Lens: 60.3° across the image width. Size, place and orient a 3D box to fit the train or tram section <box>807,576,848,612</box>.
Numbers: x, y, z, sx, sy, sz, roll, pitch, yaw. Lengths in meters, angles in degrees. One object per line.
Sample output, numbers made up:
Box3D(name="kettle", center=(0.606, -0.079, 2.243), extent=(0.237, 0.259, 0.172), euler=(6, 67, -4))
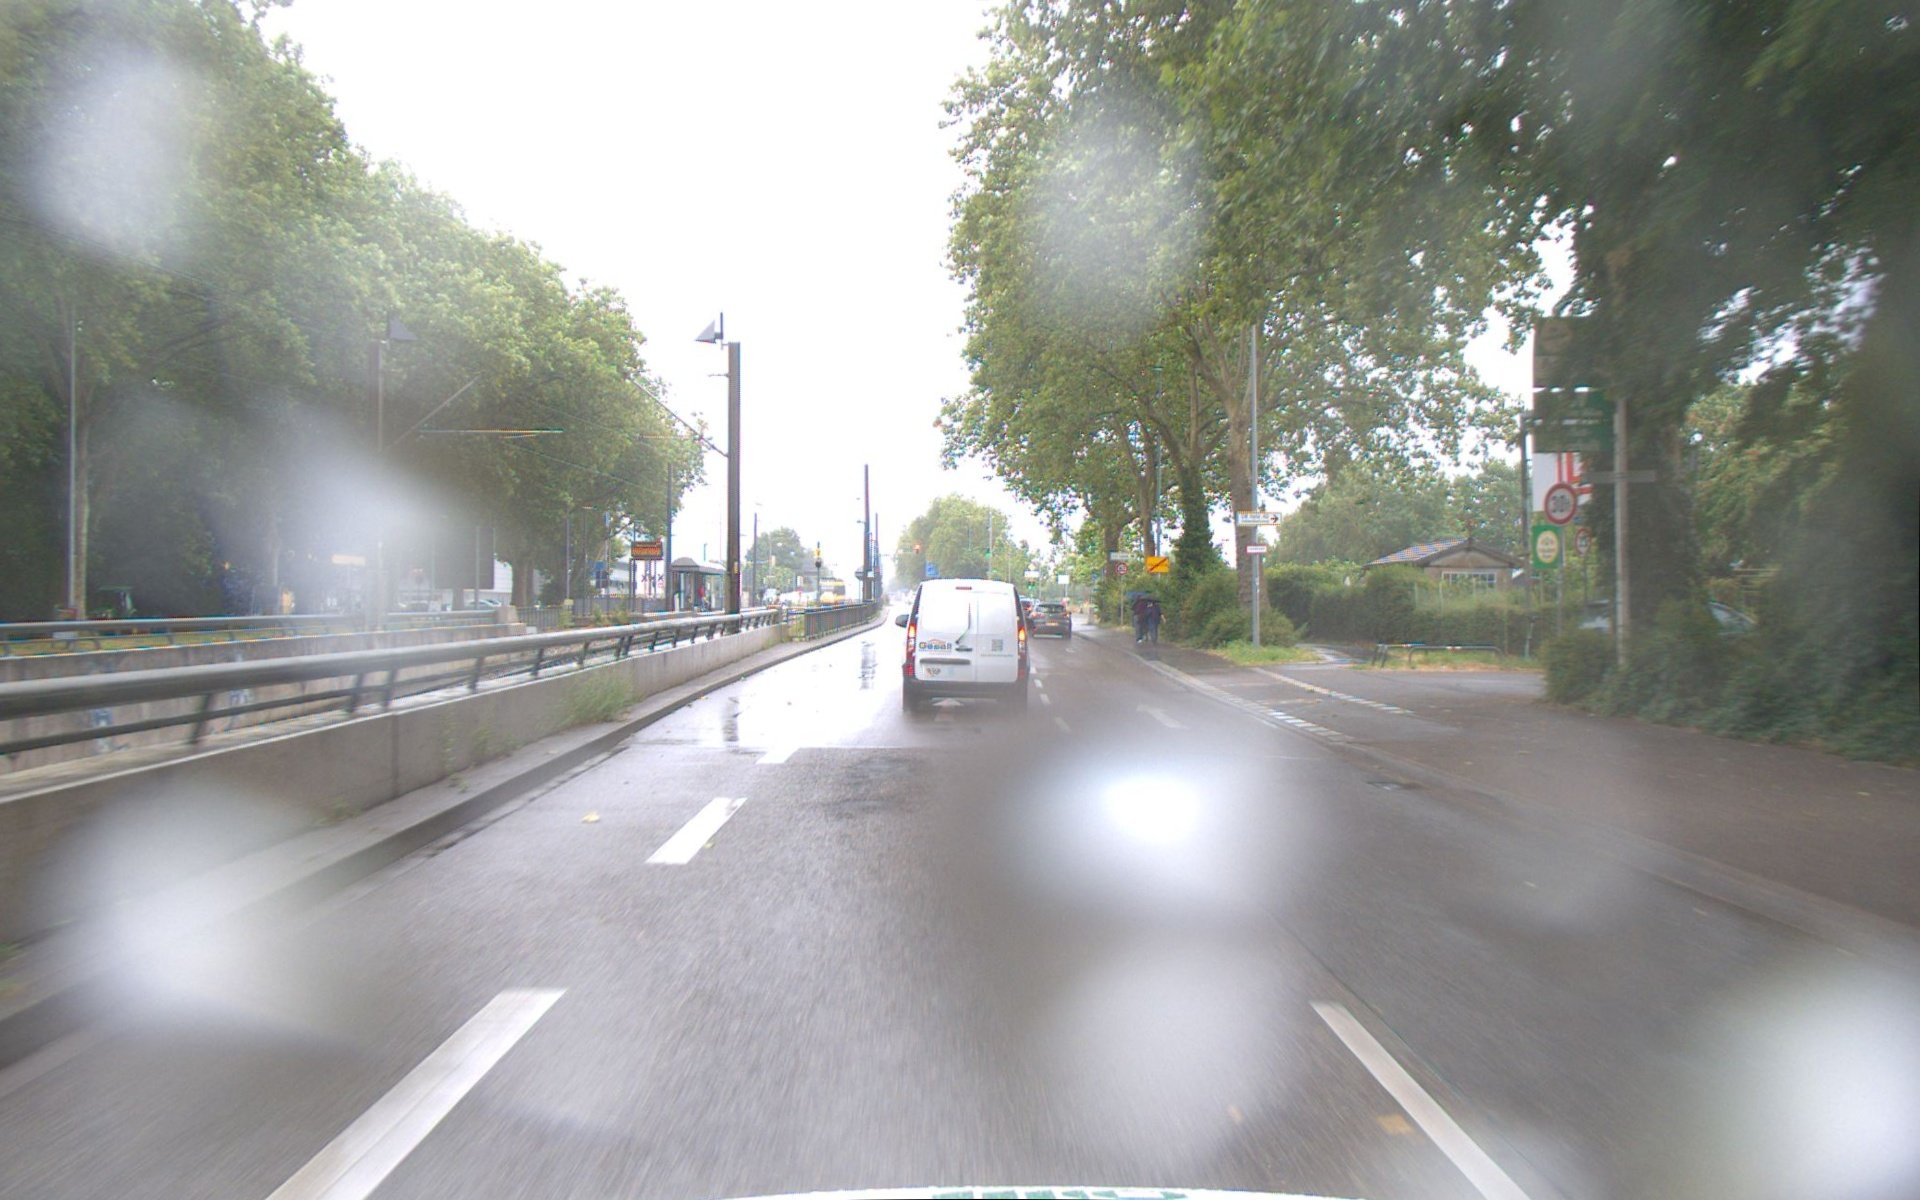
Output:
Box3D(name="train or tram section", center=(-16.568, -0.665, 208.295), extent=(3.694, 4.107, 27.082), euler=(2, 0, -2))

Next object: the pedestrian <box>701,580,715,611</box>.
Box3D(name="pedestrian", center=(-16.380, -0.304, 107.520), extent=(0.608, 1.967, 0.815), euler=(2, -1, 4))

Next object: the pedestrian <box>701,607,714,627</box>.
Box3D(name="pedestrian", center=(-17.238, 1.170, 112.942), extent=(0.629, 1.326, 0.815), euler=(2, 0, 4))

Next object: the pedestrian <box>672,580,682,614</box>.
Box3D(name="pedestrian", center=(-17.275, -0.157, 101.088), extent=(0.484, 2.049, 0.581), euler=(2, 0, -7))

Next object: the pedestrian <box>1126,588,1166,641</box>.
Box3D(name="pedestrian", center=(6.645, 0.520, 59.196), extent=(1.214, 1.817, 1.147), euler=(-3, 0, 0))

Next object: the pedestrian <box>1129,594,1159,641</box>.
Box3D(name="pedestrian", center=(6.381, 0.591, 57.400), extent=(0.927, 1.617, 1.294), euler=(0, 0, 0))

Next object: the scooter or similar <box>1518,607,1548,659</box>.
Box3D(name="scooter or similar", center=(12.880, 0.743, 37.212), extent=(0.449, 1.137, 1.276), euler=(2, 0, 12))

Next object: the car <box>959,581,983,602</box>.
Box3D(name="car", center=(0.989, -0.725, 149.848), extent=(1.953, 1.780, 3.999), euler=(2, 0, -1))

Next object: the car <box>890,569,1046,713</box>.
Box3D(name="car", center=(0.024, 0.543, 23.870), extent=(1.984, 1.806, 4.272), euler=(2, 0, -2))

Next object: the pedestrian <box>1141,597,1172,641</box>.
Box3D(name="pedestrian", center=(6.526, 0.621, 55.020), extent=(0.874, 1.415, 1.016), euler=(-1, 0, 0))

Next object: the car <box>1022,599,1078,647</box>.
Box3D(name="car", center=(3.560, 0.910, 66.224), extent=(1.953, 1.780, 4.000), euler=(2, 0, 0))
